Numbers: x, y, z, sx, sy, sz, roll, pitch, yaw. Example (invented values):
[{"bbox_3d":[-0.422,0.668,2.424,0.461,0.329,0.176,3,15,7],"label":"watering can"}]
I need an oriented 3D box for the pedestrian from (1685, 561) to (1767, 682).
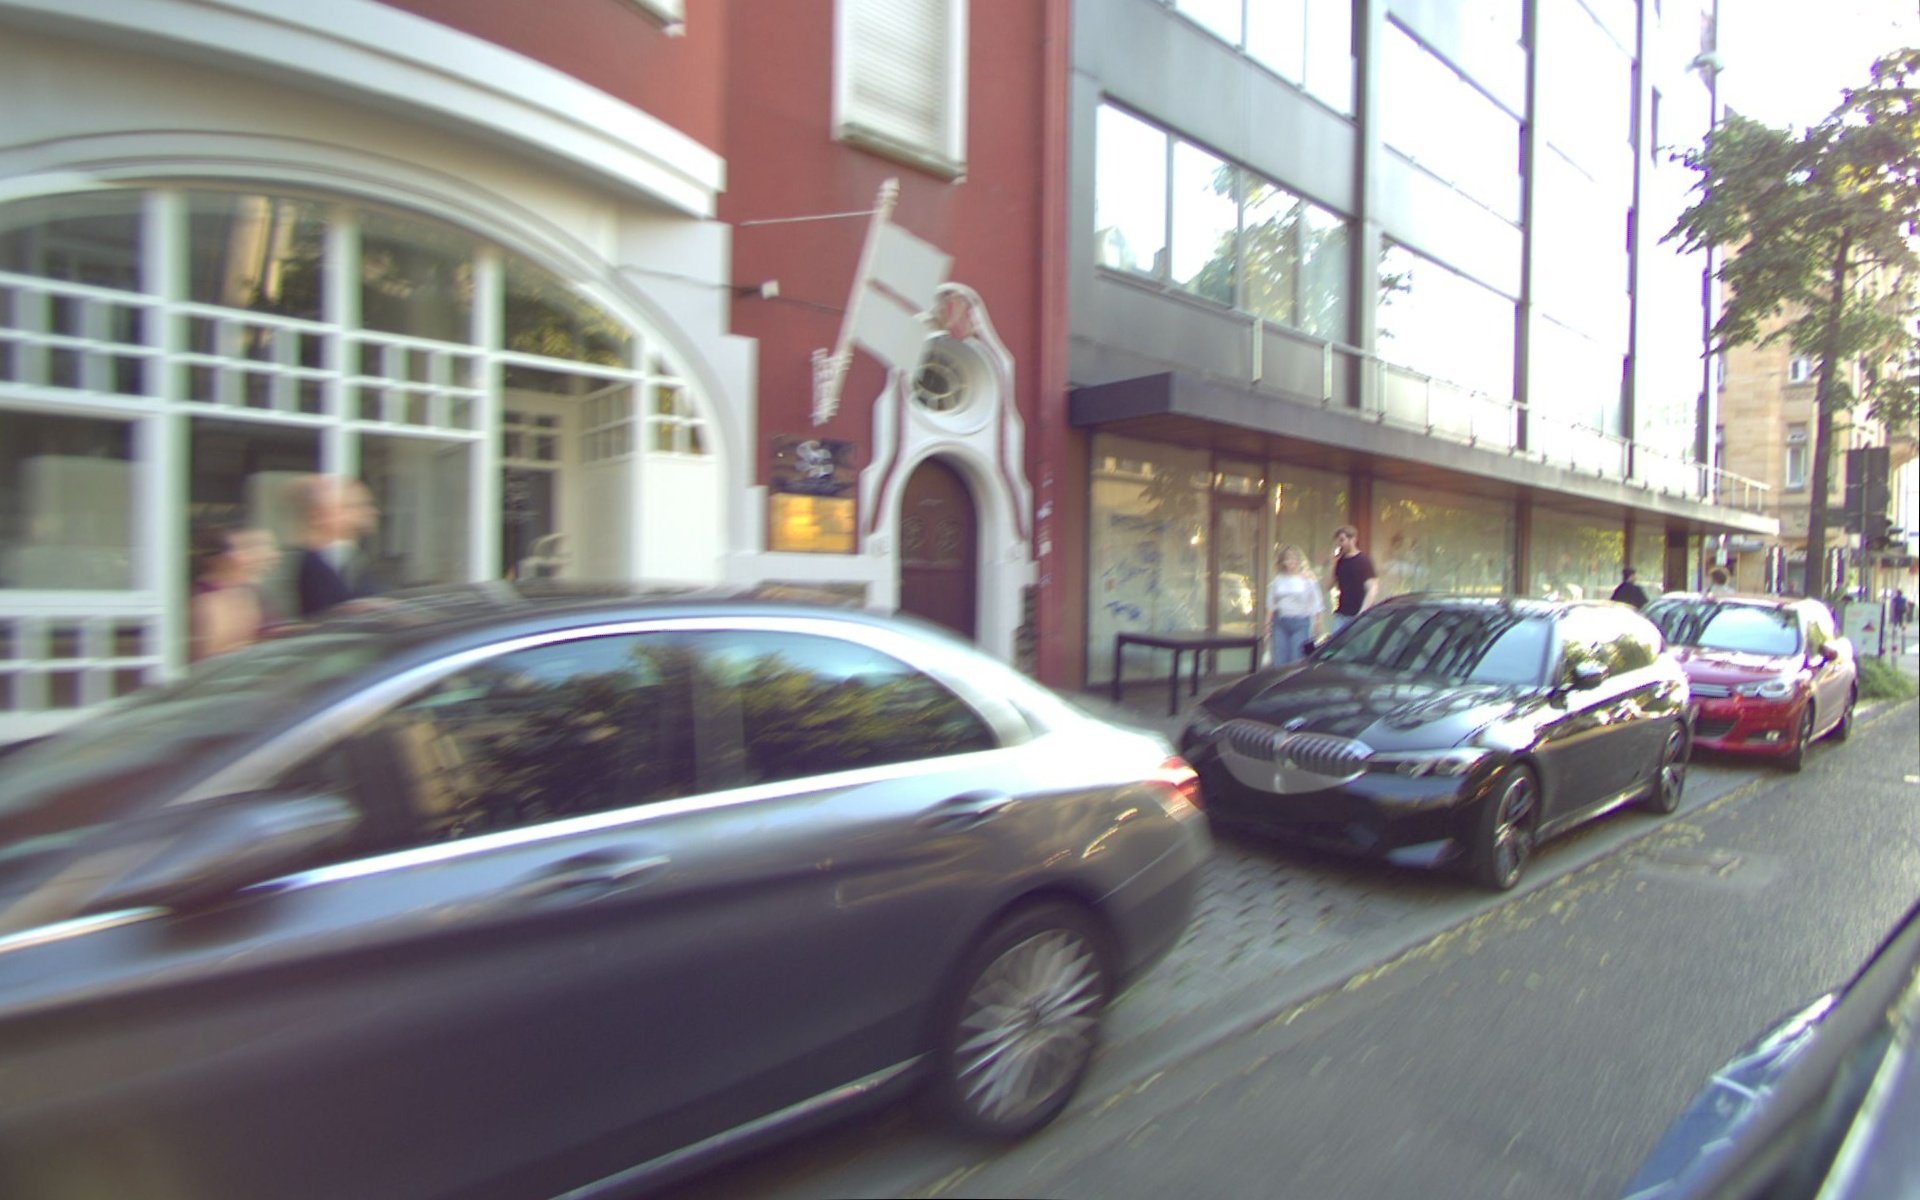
[{"bbox_3d":[12.114,0.314,16.010,0.854,1.806,0.732,0,5,-40],"label":"pedestrian"}]

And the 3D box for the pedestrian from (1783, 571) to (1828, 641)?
[{"bbox_3d":[22.194,0.143,26.551,0.798,1.780,0.756,0,1,-41],"label":"pedestrian"}]

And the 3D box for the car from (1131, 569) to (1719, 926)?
[{"bbox_3d":[3.212,0.623,6.525,4.341,1.488,1.778,0,4,-41],"label":"car"}]

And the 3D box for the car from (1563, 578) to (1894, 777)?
[{"bbox_3d":[7.959,0.606,10.300,4.670,1.511,1.726,0,4,-41],"label":"car"}]

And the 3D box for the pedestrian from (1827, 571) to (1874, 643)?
[{"bbox_3d":[22.571,0.170,25.643,0.798,1.780,0.756,0,1,-41],"label":"pedestrian"}]

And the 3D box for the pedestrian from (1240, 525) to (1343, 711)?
[{"bbox_3d":[3.436,0.167,10.486,0.821,1.831,0.590,0,4,-41],"label":"pedestrian"}]

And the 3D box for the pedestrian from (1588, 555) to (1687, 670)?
[{"bbox_3d":[11.294,0.181,16.891,0.928,1.807,1.049,0,4,-40],"label":"pedestrian"}]

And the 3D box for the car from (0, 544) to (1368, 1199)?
[{"bbox_3d":[-1.044,0.642,2.770,4.909,1.457,1.780,0,4,-39],"label":"car"}]

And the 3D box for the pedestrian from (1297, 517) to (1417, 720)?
[{"bbox_3d":[3.932,0.155,10.014,0.959,1.890,0.627,0,4,-41],"label":"pedestrian"}]

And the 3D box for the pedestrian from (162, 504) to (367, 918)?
[{"bbox_3d":[-2.831,0.390,4.110,0.629,1.507,0.626,0,2,-40],"label":"pedestrian"}]

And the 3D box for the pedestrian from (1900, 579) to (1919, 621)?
[{"bbox_3d":[39.387,0.002,41.824,0.591,1.682,0.600,0,3,-35],"label":"pedestrian"}]

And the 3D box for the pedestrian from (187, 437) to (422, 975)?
[{"bbox_3d":[-2.358,0.324,3.628,0.629,1.698,0.626,0,2,-40],"label":"pedestrian"}]
